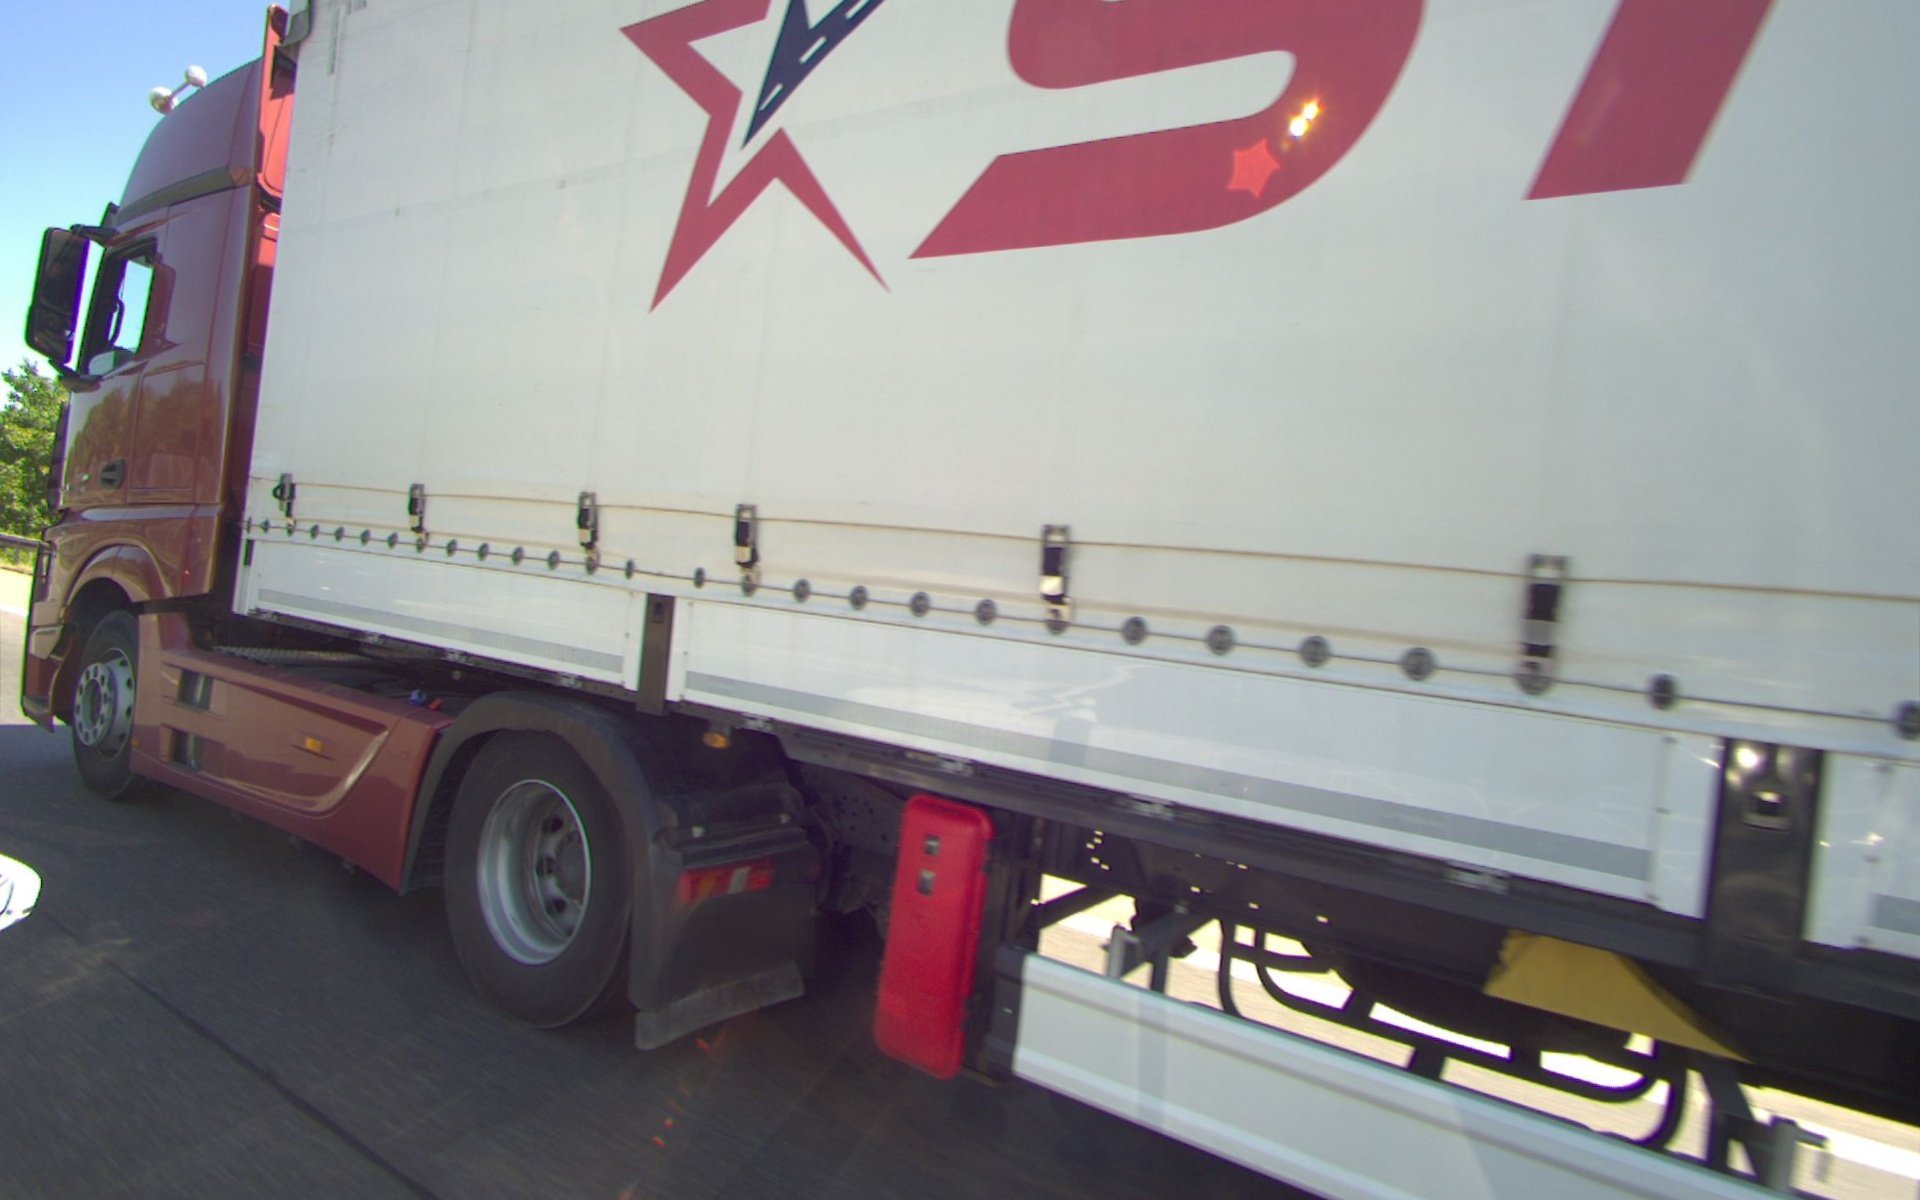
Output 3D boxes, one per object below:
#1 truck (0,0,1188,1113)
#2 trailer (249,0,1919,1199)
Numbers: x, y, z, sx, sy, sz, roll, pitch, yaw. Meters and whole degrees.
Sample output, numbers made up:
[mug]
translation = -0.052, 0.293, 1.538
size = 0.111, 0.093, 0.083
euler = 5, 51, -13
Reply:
[truck]
translation = -2.694, -0.880, 5.678
size = 6.850, 4.136, 2.712
euler = 7, -1, 32
[trailer]
translation = 4.077, -0.070, 1.426
size = 13.916, 4.136, 2.712
euler = 7, -1, 32
